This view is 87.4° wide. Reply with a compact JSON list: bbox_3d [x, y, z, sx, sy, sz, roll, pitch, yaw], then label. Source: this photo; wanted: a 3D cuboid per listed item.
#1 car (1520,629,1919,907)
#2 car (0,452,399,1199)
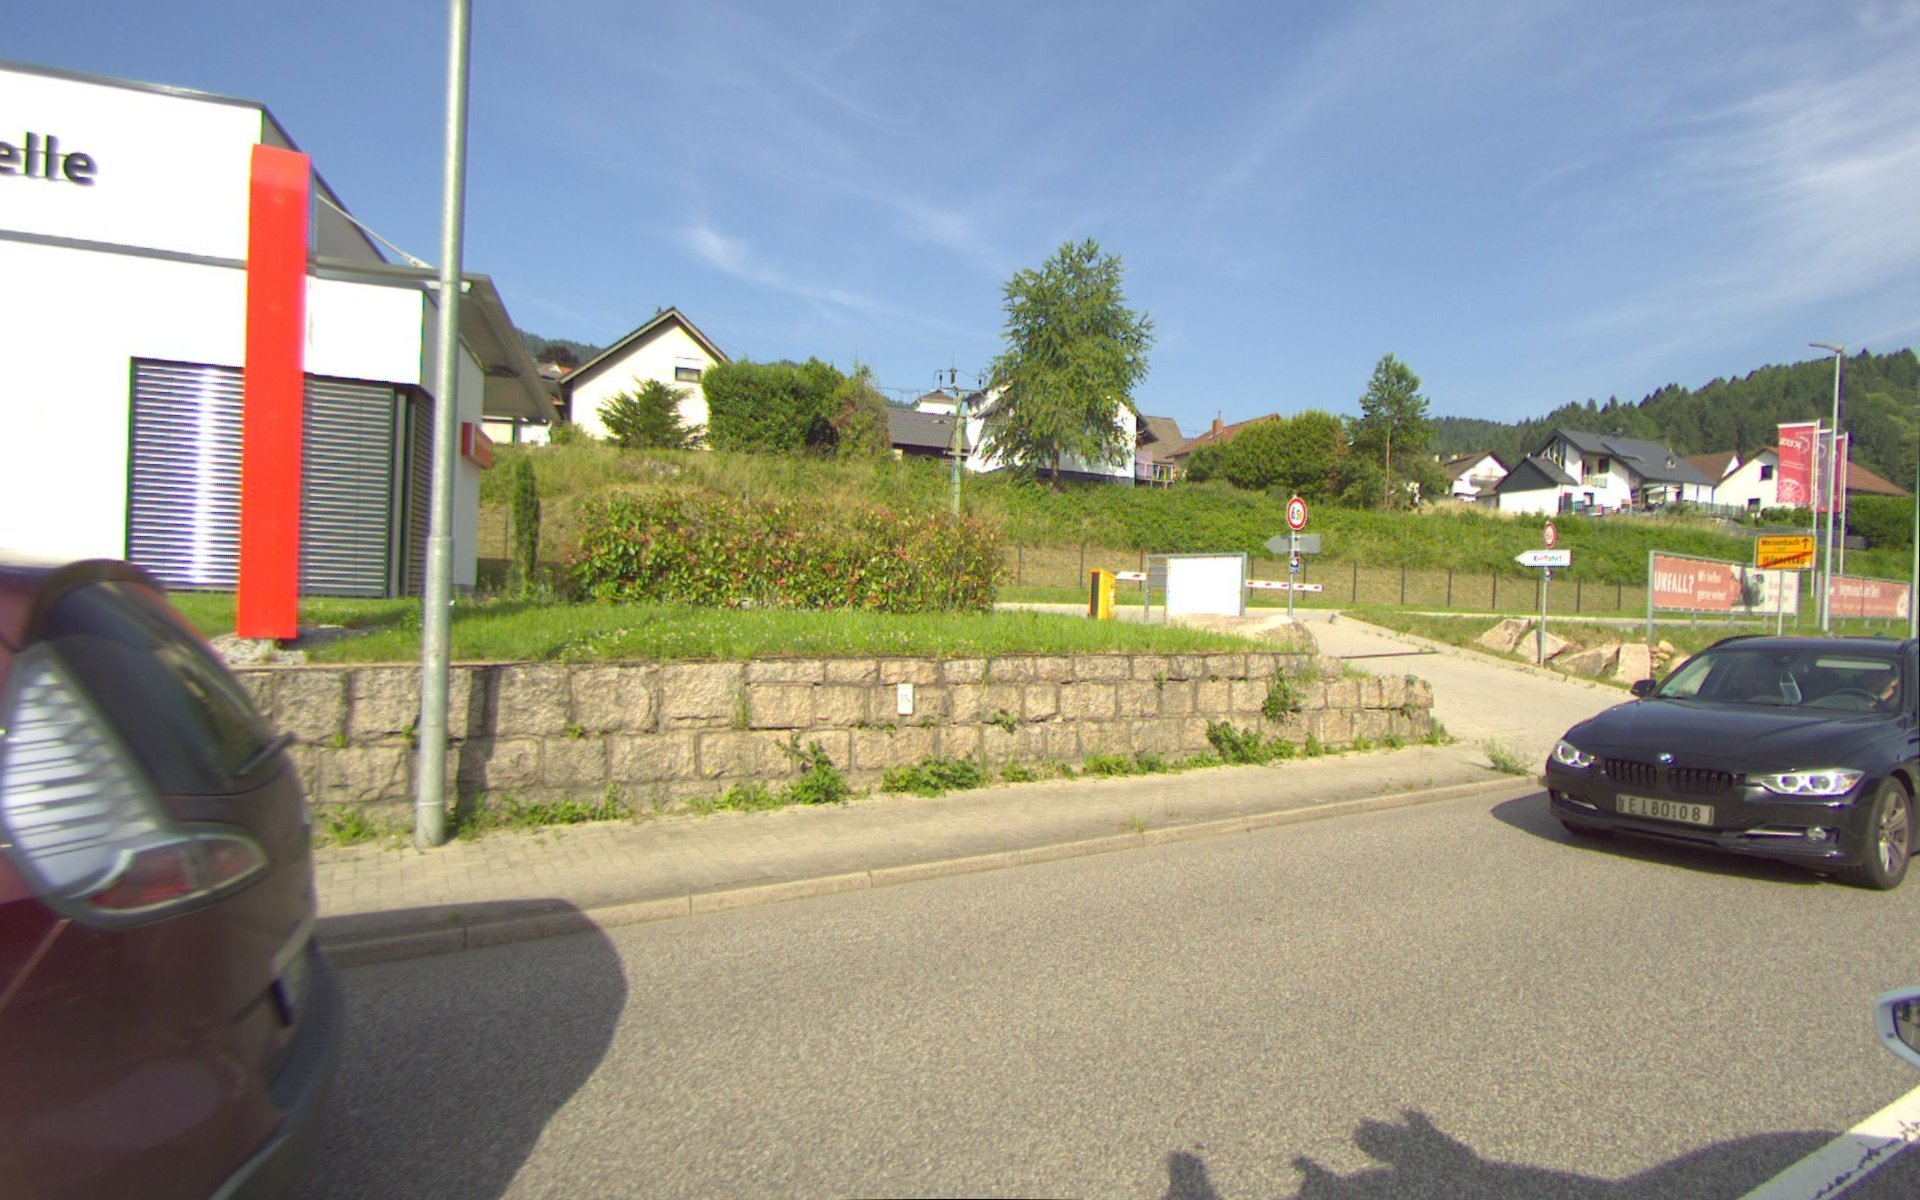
[{"bbox_3d":[5.988,0.934,7.085,4.185,1.417,1.764,1,-1,-32],"label":"car"},{"bbox_3d":[-3.226,0.621,1.223,4.409,1.639,1.789,1,-1,-30],"label":"car"}]
